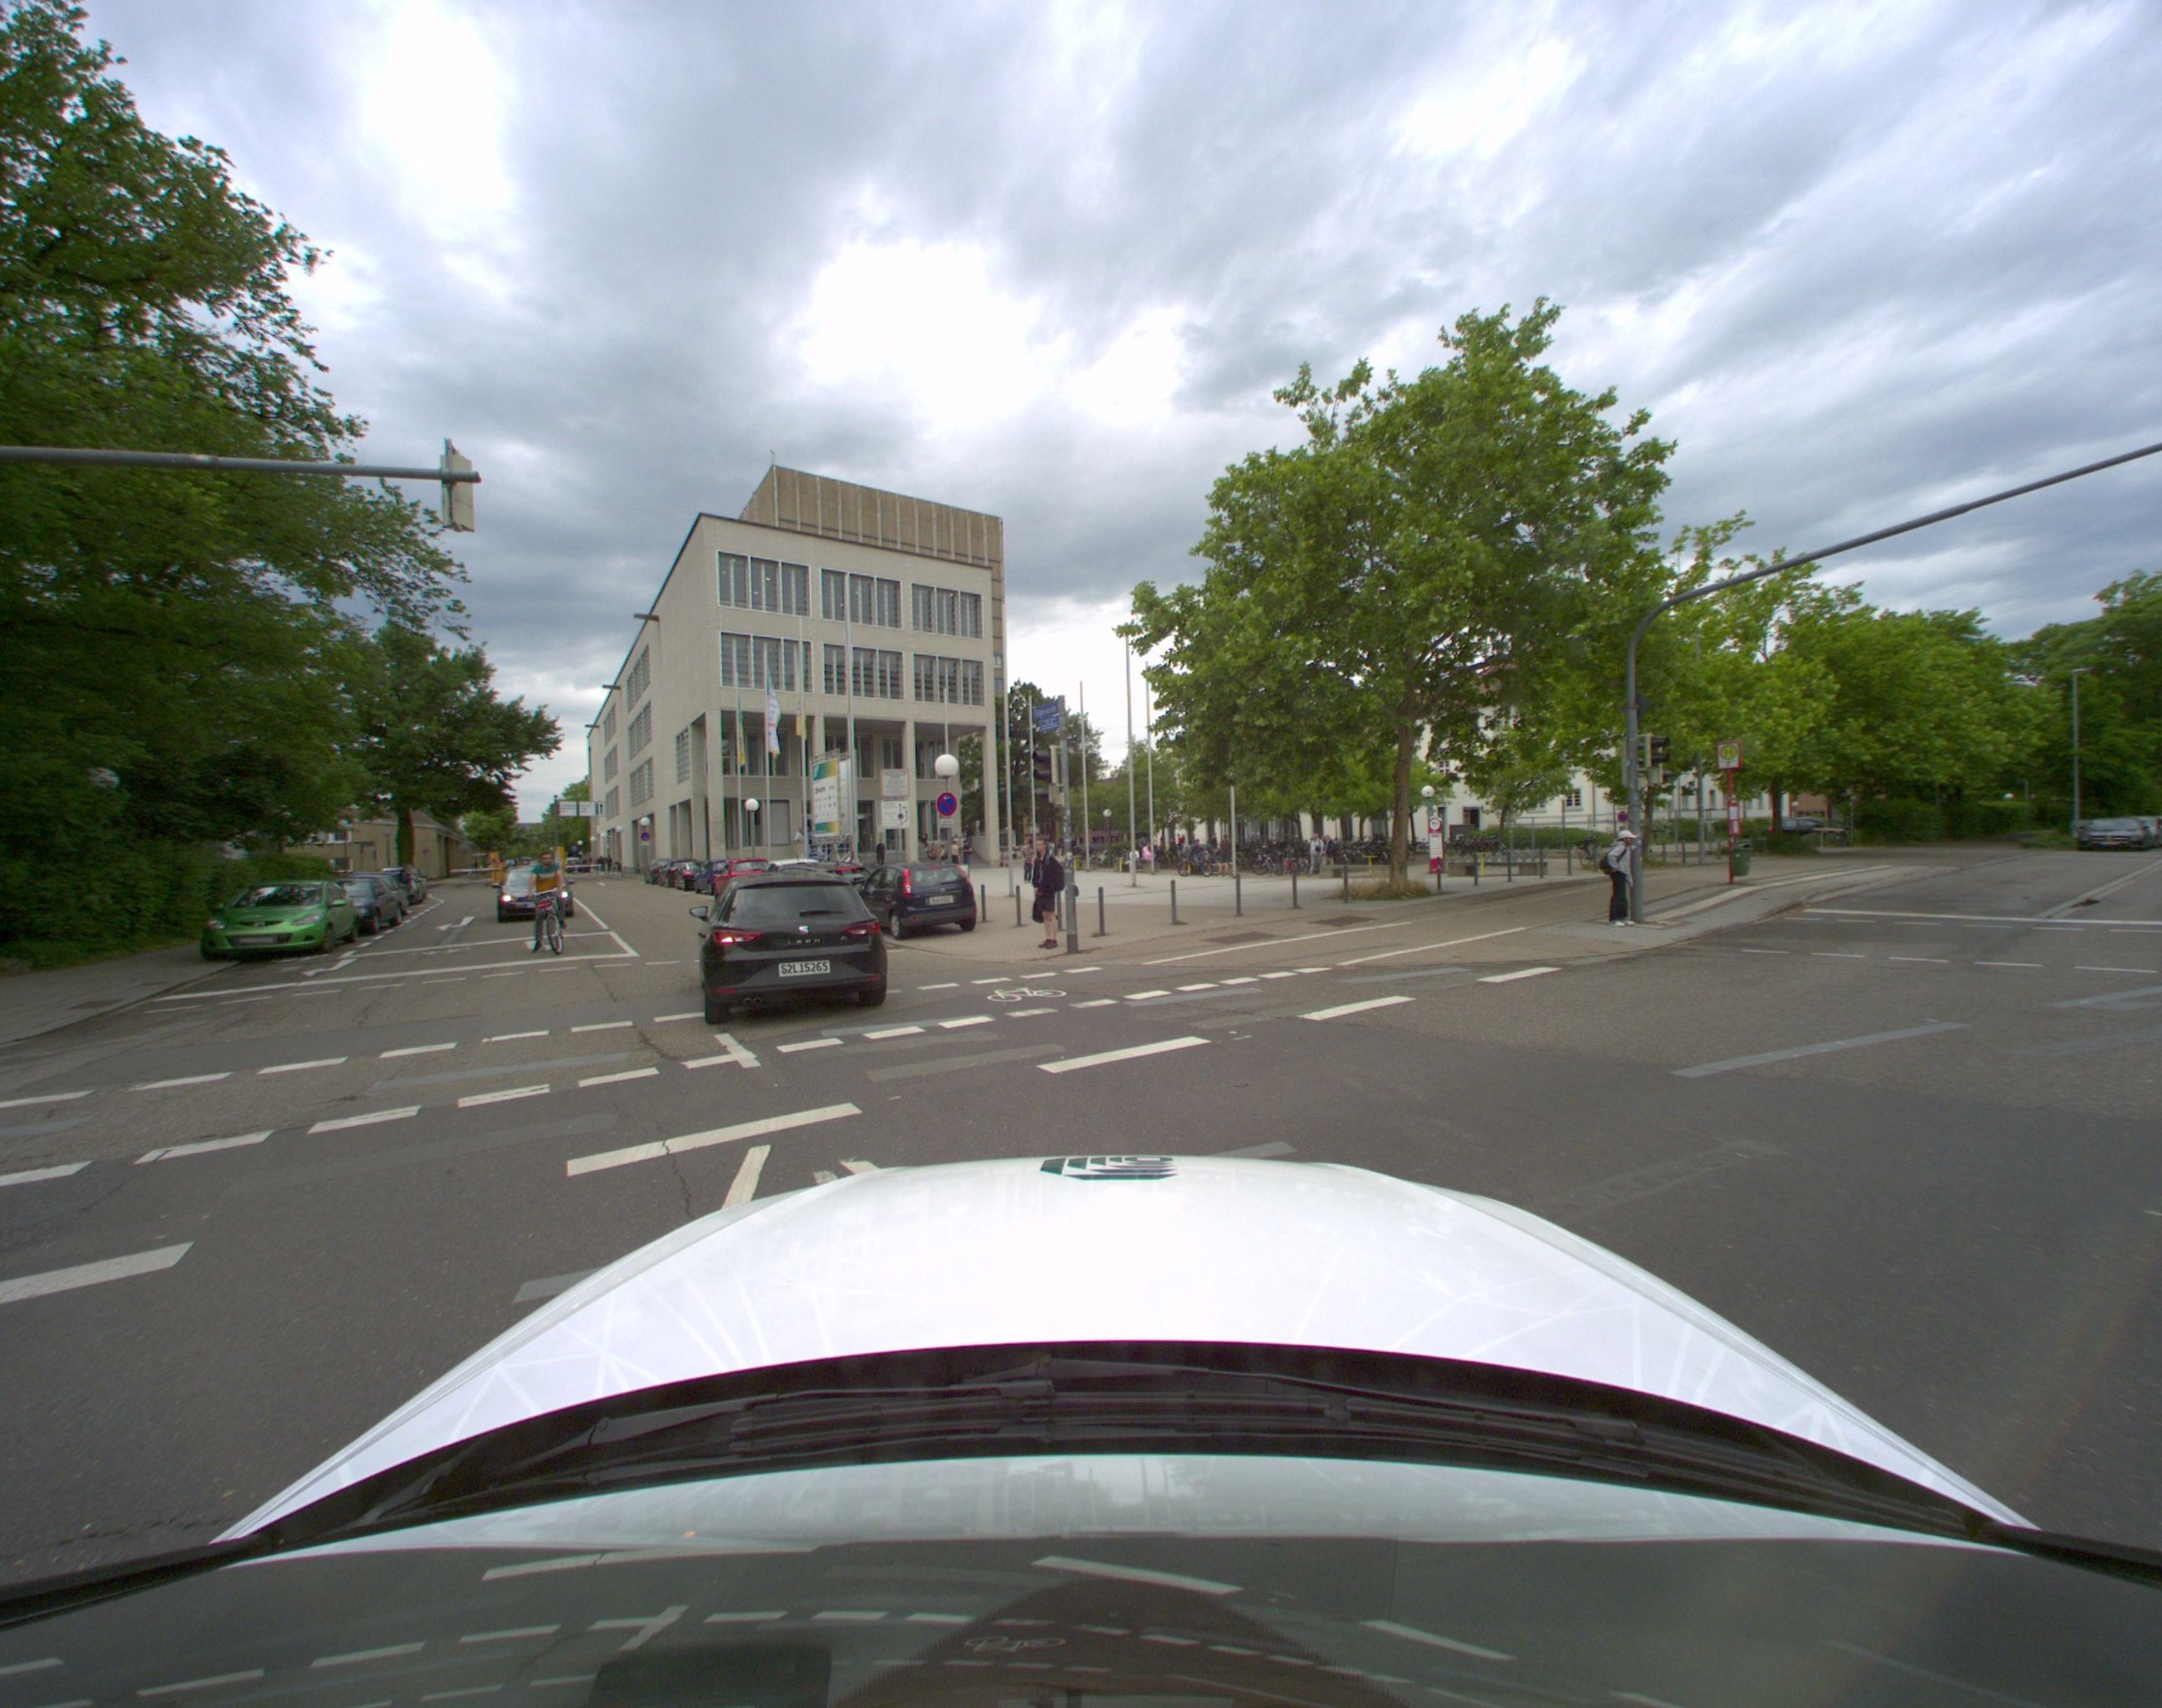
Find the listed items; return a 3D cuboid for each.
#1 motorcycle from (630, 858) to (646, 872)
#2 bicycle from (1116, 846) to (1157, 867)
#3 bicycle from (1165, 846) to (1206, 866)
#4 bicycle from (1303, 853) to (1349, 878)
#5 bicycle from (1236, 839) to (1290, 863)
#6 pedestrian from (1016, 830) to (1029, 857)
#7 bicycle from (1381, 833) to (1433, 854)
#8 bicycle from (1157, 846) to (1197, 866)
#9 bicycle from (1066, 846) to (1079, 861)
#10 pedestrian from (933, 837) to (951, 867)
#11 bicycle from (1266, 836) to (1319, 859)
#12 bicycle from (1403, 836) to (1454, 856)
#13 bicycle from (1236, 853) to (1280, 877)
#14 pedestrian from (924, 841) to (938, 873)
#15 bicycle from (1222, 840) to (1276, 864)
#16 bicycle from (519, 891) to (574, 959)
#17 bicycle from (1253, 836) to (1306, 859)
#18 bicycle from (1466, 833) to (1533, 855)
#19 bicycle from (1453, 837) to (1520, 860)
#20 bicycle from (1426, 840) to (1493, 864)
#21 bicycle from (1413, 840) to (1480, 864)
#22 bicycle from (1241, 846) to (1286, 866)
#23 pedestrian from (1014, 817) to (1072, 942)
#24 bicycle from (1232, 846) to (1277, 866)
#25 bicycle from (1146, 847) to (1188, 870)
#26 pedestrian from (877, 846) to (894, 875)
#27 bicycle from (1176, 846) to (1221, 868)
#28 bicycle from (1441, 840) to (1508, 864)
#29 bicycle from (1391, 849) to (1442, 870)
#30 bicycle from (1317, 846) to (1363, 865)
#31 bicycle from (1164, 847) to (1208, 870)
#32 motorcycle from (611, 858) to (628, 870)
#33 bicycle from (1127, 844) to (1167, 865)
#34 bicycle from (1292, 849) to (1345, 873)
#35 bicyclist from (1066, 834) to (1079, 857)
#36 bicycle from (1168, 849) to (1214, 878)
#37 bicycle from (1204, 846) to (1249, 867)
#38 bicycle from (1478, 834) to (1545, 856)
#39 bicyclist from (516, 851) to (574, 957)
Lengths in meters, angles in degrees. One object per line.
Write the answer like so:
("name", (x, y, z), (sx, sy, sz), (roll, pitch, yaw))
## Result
("motorcycle", (-39.266, 0.979, 72.143), (0.565, 1.148, 2.210), (1, 2, -10))
("bicycle", (3.355, 0.151, 49.653), (0.750, 1.170, 3.076), (0, 2, -33))
("bicycle", (6.689, 0.086, 52.343), (0.750, 1.170, 3.076), (0, 2, -33))
("bicycle", (10.477, 0.471, 34.863), (0.459, 1.049, 1.913), (-2, 2, -39))
("bicycle", (9.499, -0.144, 42.648), (0.750, 1.170, 3.076), (-1, 0, -33))
("pedestrian", (-3.681, -0.671, 51.065), (0.732, 1.640, 0.932), (1, 2, 0))
("bicycle", (20.021, -0.665, 50.134), (0.750, 1.170, 3.076), (0, 2, -33))
("bicycle", (6.080, 0.094, 51.788), (0.750, 1.170, 3.076), (0, 2, -33))
("bicycle", (-0.612, -0.028, 60.573), (0.870, 1.093, 1.801), (-1, 1, 0))
("pedestrian", (-8.007, -0.125, 46.841), (0.782, 1.715, 0.597), (-2, 0, -34))
("bicycle", (11.357, -0.380, 43.878), (0.750, 1.170, 3.076), (0, 2, -33))
("bicycle", (21.971, -0.532, 51.519), (0.750, 1.170, 3.076), (0, 2, -33))
("bicycle", (7.989, 0.475, 36.813), (1.911, 1.049, 0.460), (0, 2, 42))
("pedestrian", (-8.783, 0.194, 47.689), (0.595, 1.841, 0.614), (-1, 0, -34))
("bicycle", (8.602, -0.123, 41.887), (0.750, 1.170, 3.076), (0, 2, -33))
("bicycle", (-9.487, 1.219, 14.417), (0.662, 1.037, 1.836), (-2, 1, -37))
("bicycle", (10.517, -0.311, 43.272), (0.750, 1.170, 3.076), (-1, 0, -33))
("bicycle", (23.787, -0.559, 46.422), (1.058, 1.170, 3.362), (-1, 1, -29))
("bicycle", (22.800, -0.285, 45.868), (1.058, 1.170, 3.362), (-1, -1, -29))
("bicycle", (20.727, -0.133, 44.670), (1.058, 1.170, 3.363), (0, 2, -29))
("bicycle", (19.637, -0.125, 43.868), (1.058, 1.170, 3.363), (0, 2, -29))
("bicycle", (11.434, 0.104, 51.061), (0.751, 1.170, 3.076), (0, 2, -34))
("pedestrian", (-0.634, 0.399, 13.342), (0.791, 1.952, 0.755), (-2, 0, -11))
("bicycle", (10.777, 0.108, 50.635), (0.751, 1.170, 3.076), (0, 2, -34))
("bicycle", (4.882, 0.246, 46.460), (0.624, 1.170, 3.076), (0, 2, -33))
("pedestrian", (-11.432, 0.383, 47.618), (0.761, 1.669, 0.698), (-2, 0, -34))
("bicycle", (6.865, 0.135, 47.798), (0.750, 1.170, 3.076), (0, 2, -33))
("bicycle", (21.842, -0.135, 45.308), (1.058, 1.170, 3.363), (0, 2, -29))
("bicycle", (20.877, 0.324, 50.743), (0.750, 1.170, 3.076), (0, 2, -33))
("bicycle", (17.323, 0.088, 54.534), (0.751, 1.170, 3.076), (0, 2, -34))
("bicycle", (6.065, 0.237, 47.333), (0.750, 1.170, 3.076), (0, 2, -33))
("motorcycle", (-48.538, 1.015, 85.685), (0.759, 1.148, 2.654), (1, 2, -10))
("bicycle", (4.019, 0.003, 50.085), (0.750, 1.170, 3.076), (0, 2, -33))
("bicycle", (13.199, 0.375, 45.299), (0.750, 1.170, 3.076), (0, 2, -33))
("bicyclist", (-0.625, -0.622, 60.560), (0.870, 1.641, 0.868), (-1, 1, 0))
("bicycle", (4.880, 0.393, 36.335), (0.459, 1.170, 2.386), (0, 2, -39))
("bicycle", (8.754, 0.121, 49.192), (0.750, 1.170, 3.076), (0, 2, -33))
("bicycle", (24.773, -0.514, 46.986), (1.058, 1.170, 3.364), (0, 2, -28))
("bicyclist", (-9.499, 0.855, 14.422), (0.663, 1.779, 0.972), (-2, 0, -42))
